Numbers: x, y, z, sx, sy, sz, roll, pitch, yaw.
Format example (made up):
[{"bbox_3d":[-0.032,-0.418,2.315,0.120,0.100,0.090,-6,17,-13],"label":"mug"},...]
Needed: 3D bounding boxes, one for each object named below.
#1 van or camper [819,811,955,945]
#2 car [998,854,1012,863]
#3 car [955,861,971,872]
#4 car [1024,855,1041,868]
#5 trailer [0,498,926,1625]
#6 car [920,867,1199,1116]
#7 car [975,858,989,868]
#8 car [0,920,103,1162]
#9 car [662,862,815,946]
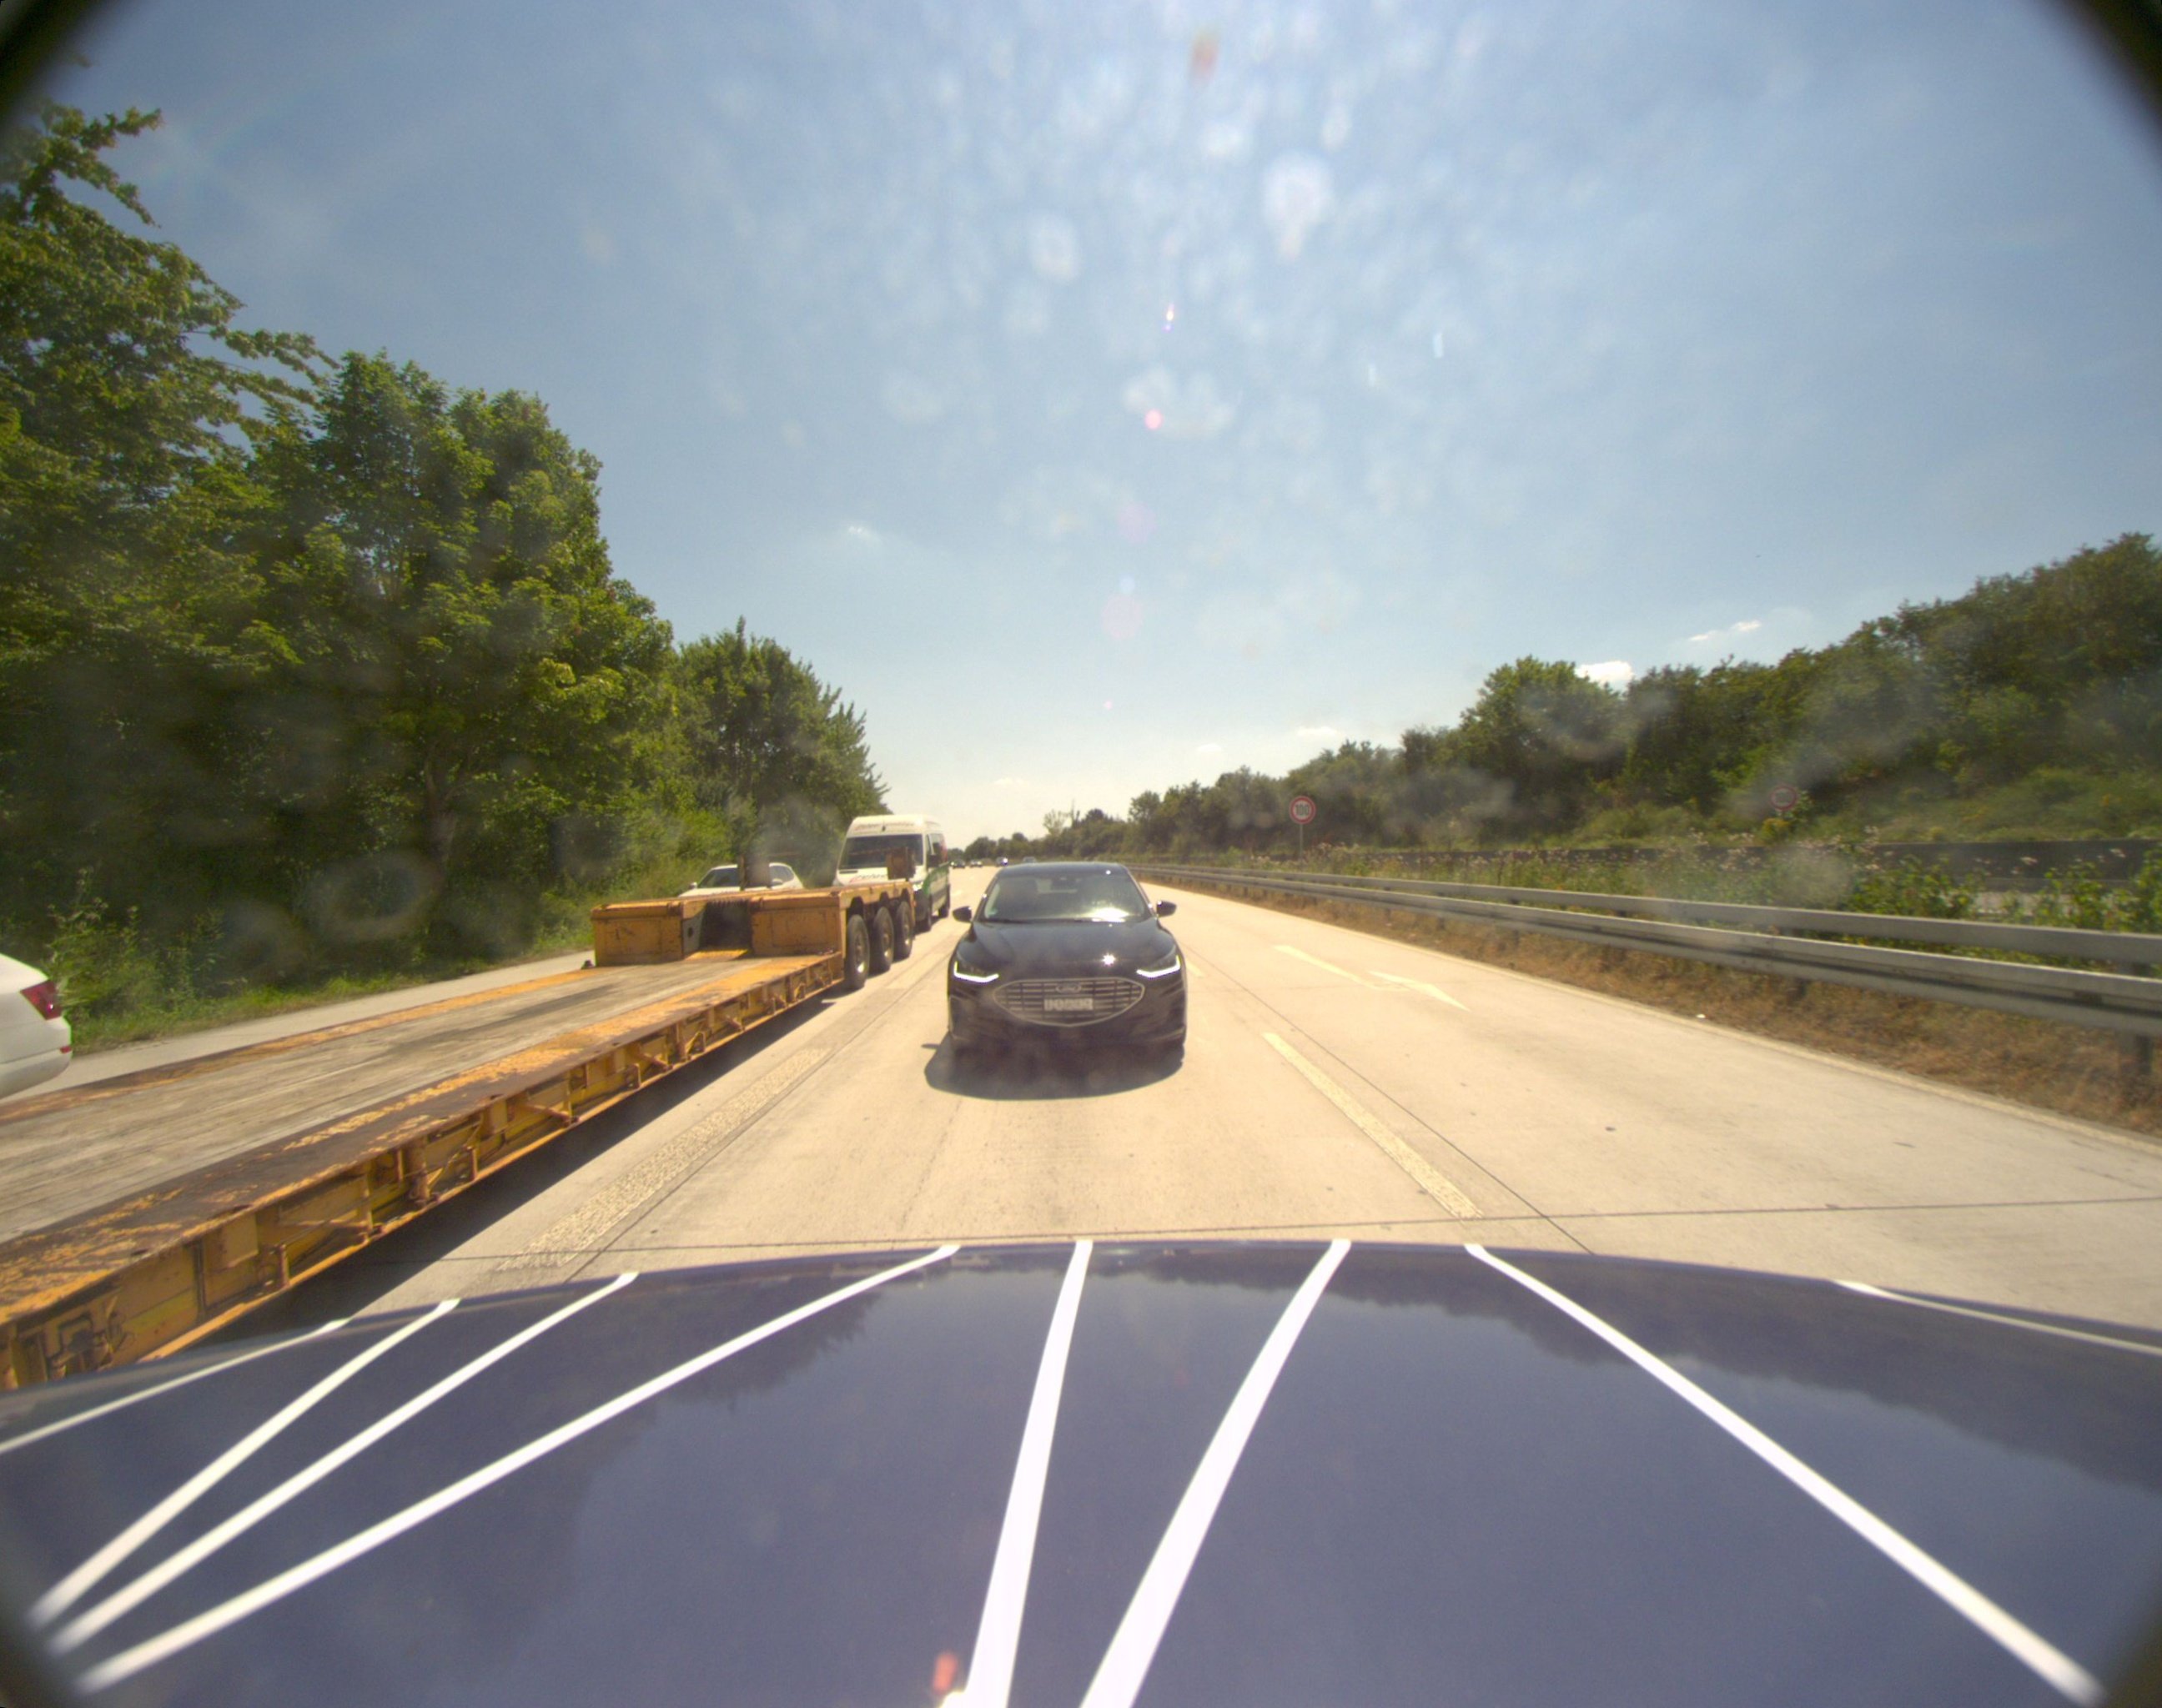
[{"bbox_3d":[-4.310,0.434,17.957,2.069,2.559,5.904,-2,1,-5],"label":"van or camper"},{"bbox_3d":[-12.351,0.734,123.236,1.708,1.456,3.995,-2,1,-12],"label":"car"},{"bbox_3d":[-18.419,1.893,118.241,1.774,1.552,4.361,-2,1,-16],"label":"car"},{"bbox_3d":[-5.832,0.891,91.266,1.628,1.476,3.996,-2,1,-9],"label":"car"},{"bbox_3d":[-4.026,0.499,4.191,3.035,2.578,16.354,-2,0,-1],"label":"trailer"},{"bbox_3d":[-0.110,0.919,7.001,1.731,1.430,4.303,-2,0,1],"label":"car"},{"bbox_3d":[-16.871,1.545,129.201,1.892,1.456,3.995,-2,1,-14],"label":"car"},{"bbox_3d":[-7.569,1.235,2.877,1.772,1.454,4.597,-2,1,-1],"label":"car"},{"bbox_3d":[-7.798,1.051,17.819,1.772,1.552,4.366,-2,1,-4],"label":"car"}]
